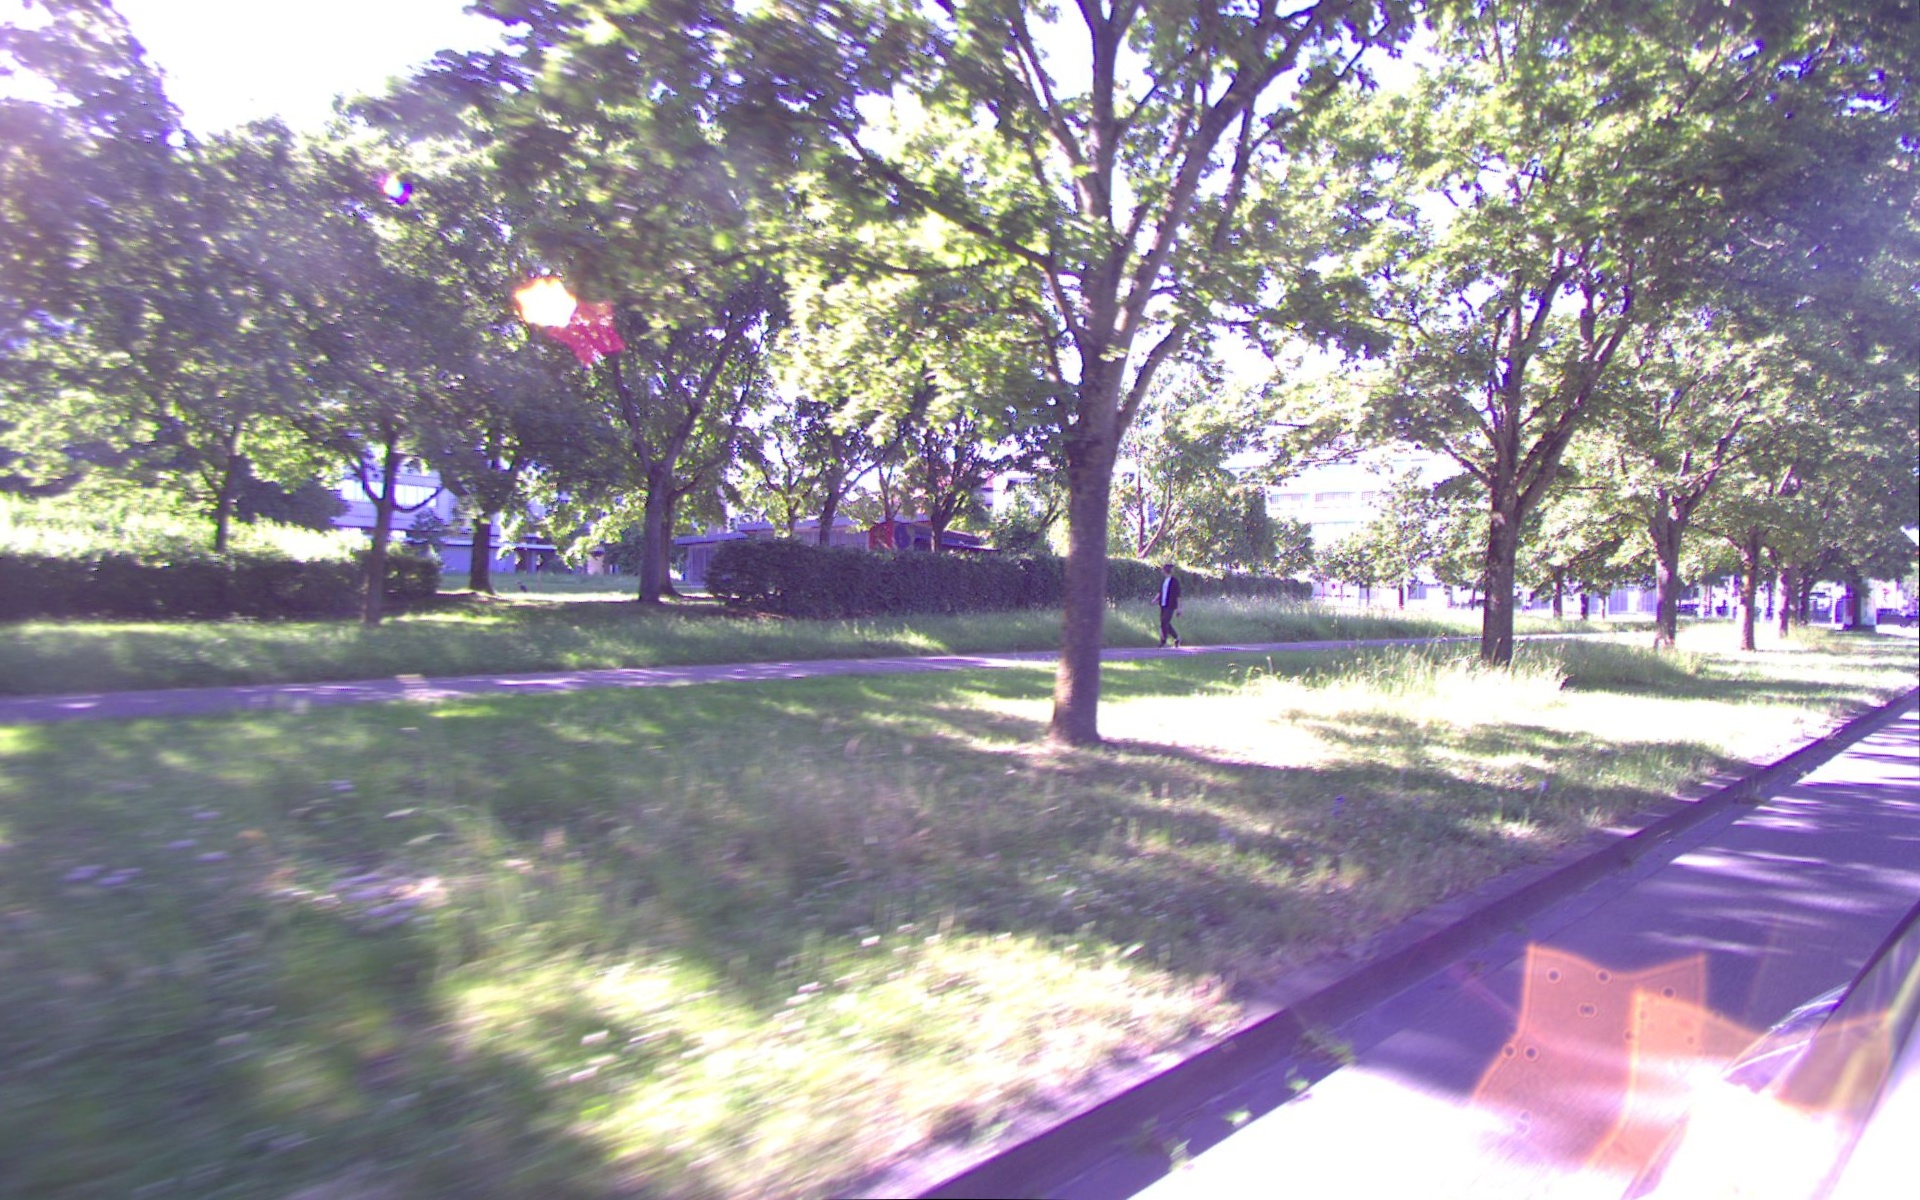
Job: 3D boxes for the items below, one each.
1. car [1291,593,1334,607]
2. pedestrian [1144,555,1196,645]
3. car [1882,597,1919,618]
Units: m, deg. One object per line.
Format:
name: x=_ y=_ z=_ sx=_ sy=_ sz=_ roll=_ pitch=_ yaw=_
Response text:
car: x=39.130 y=-0.004 z=112.263 sx=4.248 sy=1.438 sz=1.900 roll=1 pitch=0 yaw=29
pedestrian: x=4.385 y=-0.005 z=21.140 sx=0.780 sy=1.826 sz=0.716 roll=1 pitch=0 yaw=-43
car: x=78.674 y=0.659 z=82.724 sx=4.597 sy=1.643 sz=1.977 roll=1 pitch=1 yaw=33
